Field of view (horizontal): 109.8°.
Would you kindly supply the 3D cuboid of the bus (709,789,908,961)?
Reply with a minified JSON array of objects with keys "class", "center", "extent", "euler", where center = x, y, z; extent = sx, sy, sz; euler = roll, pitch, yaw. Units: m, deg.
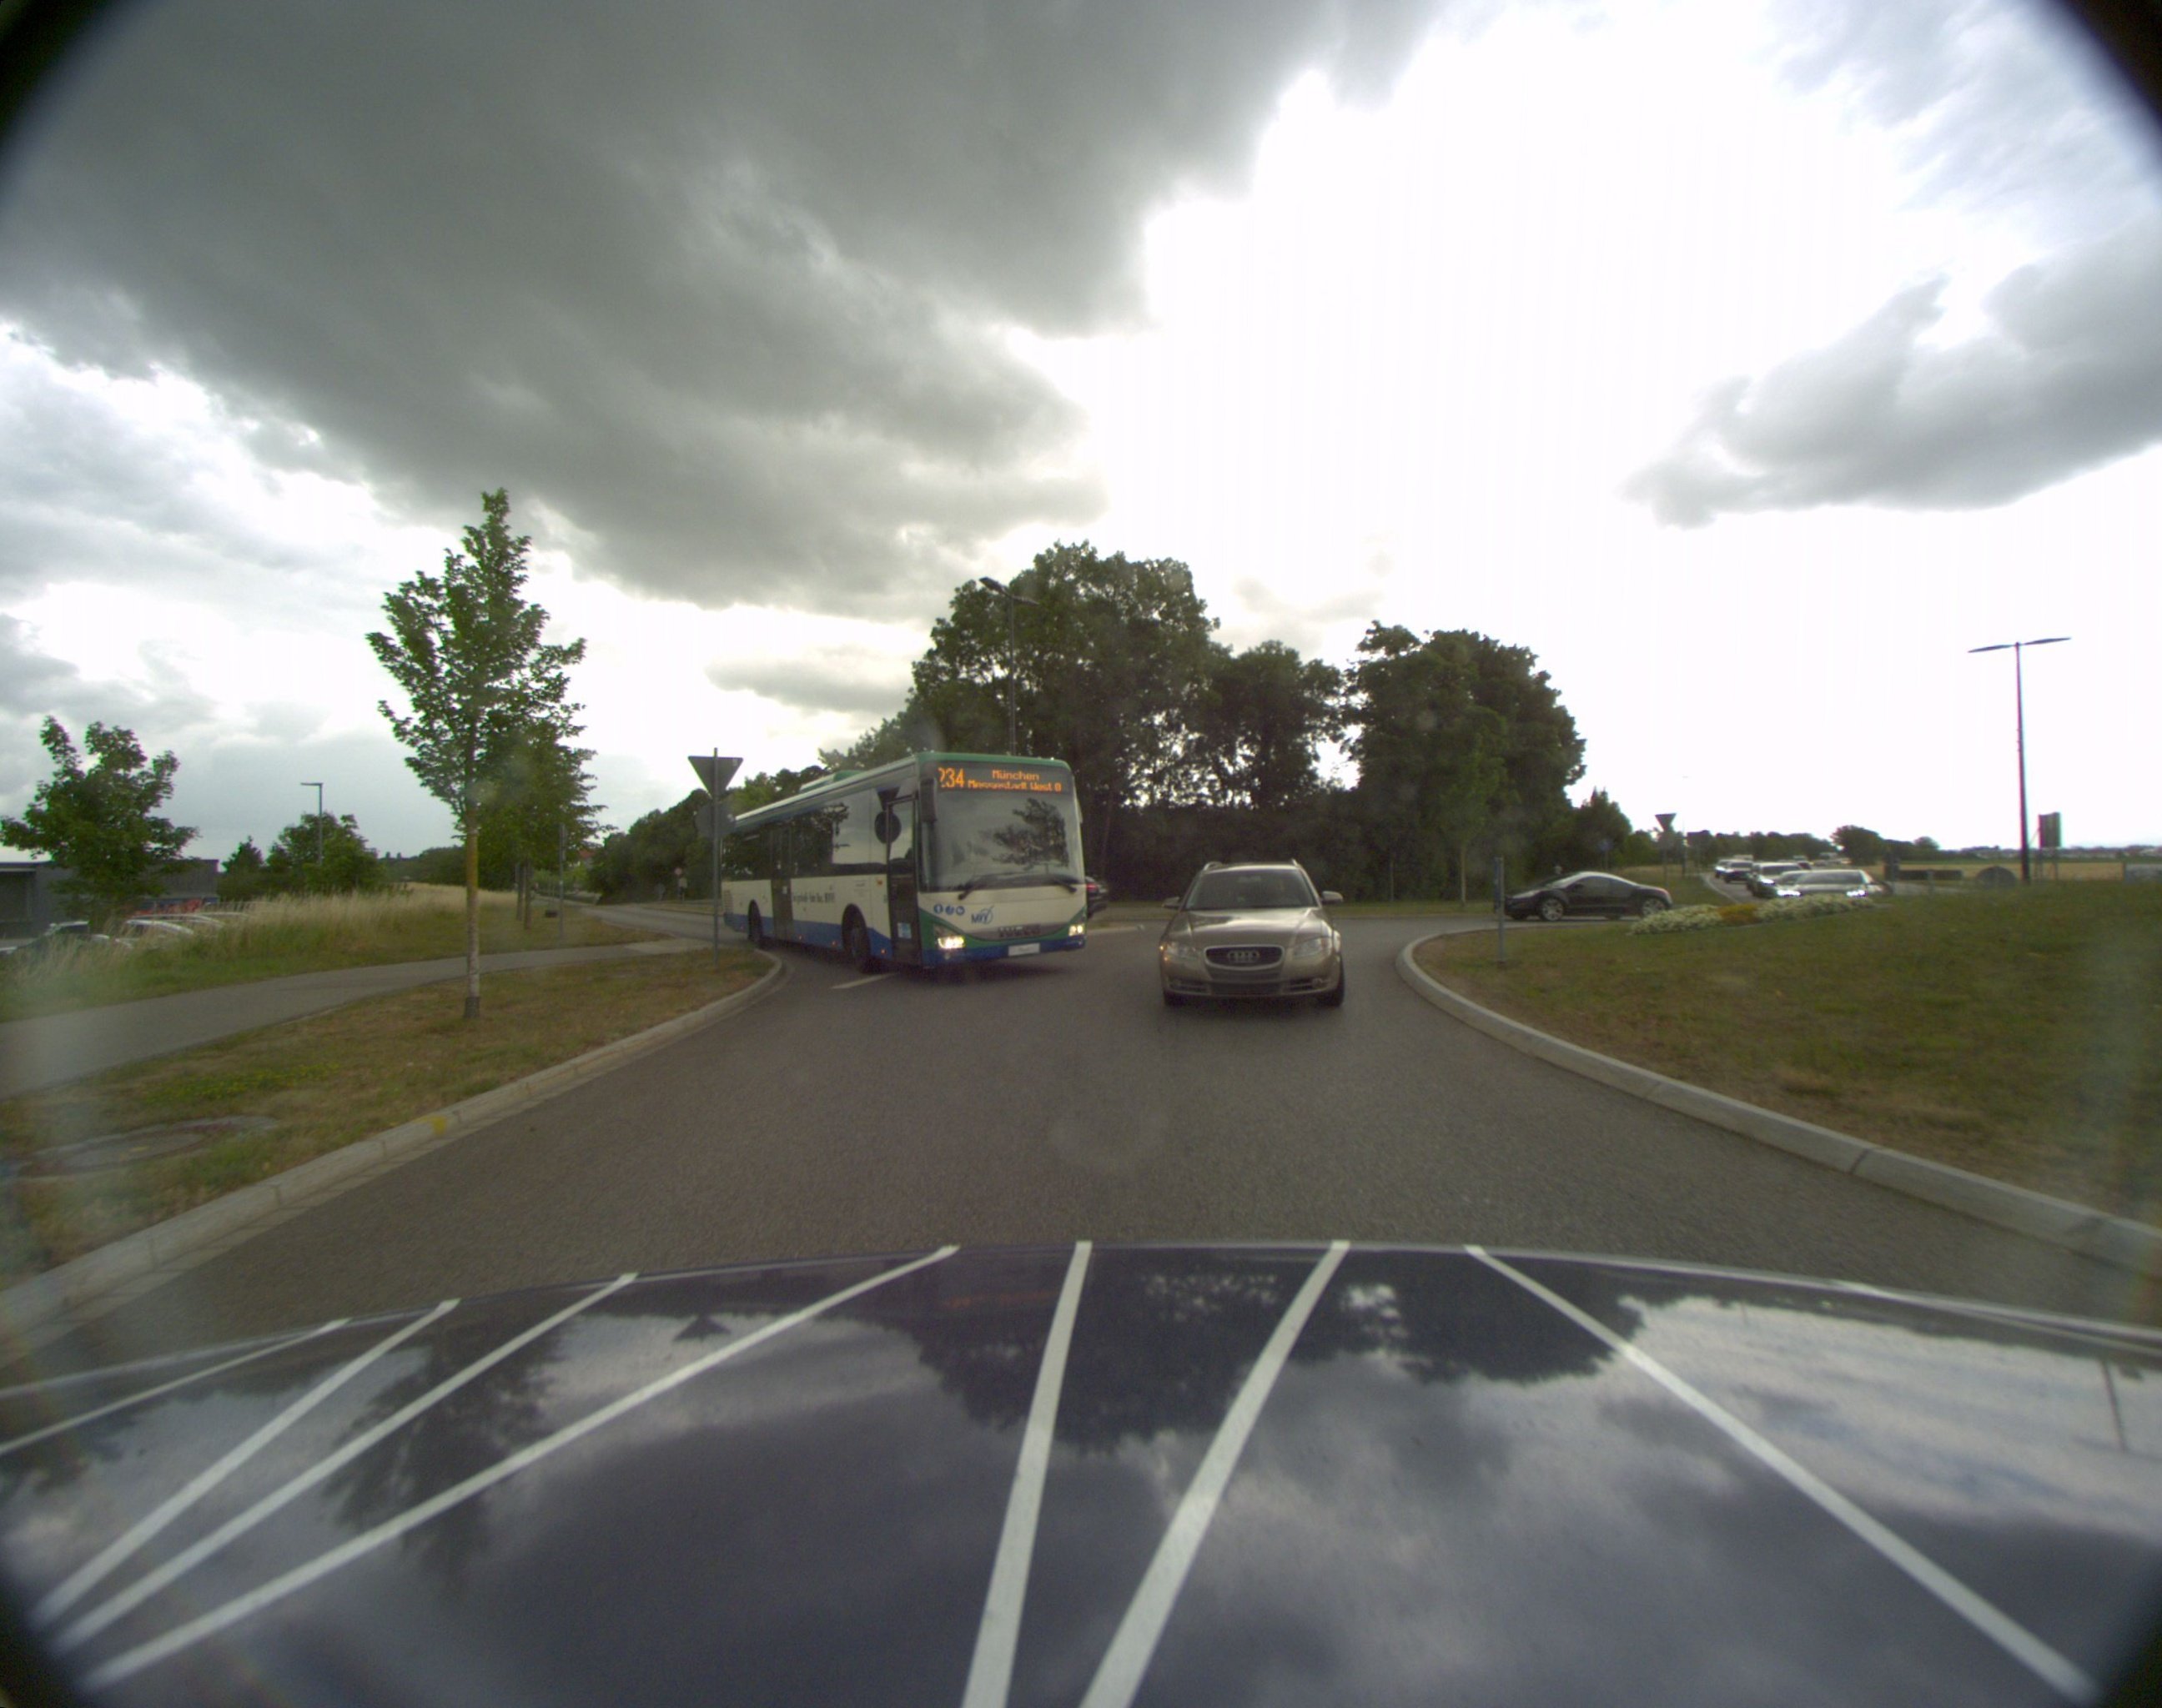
[{"class":"bus","center":[-6.357,0.379,17.239],"extent":[2.529,3.240,5.447],"euler":[-4,2,-37]}]

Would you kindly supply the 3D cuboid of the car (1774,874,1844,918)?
[{"class":"car","center":[27.996,1.585,29.305],"extent":[1.777,1.489,3.819],"euler":[-2,-1,42]}]

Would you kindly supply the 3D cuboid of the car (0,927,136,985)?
[{"class":"car","center":[-31.549,3.057,22.639],"extent":[3.895,1.455,1.694],"euler":[0,-1,-27]}]

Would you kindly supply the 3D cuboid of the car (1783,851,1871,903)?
[{"class":"car","center":[23.387,0.674,23.906],"extent":[1.836,1.449,4.145],"euler":[-1,0,44]}]

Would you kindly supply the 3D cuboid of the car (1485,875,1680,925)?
[{"class":"car","center":[13.701,1.226,20.969],"extent":[4.109,1.299,1.832],"euler":[0,-2,6]}]

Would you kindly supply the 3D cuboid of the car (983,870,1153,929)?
[{"class":"car","center":[-0.351,1.302,22.309],"extent":[4.578,1.564,2.003],"euler":[-1,0,17]}]

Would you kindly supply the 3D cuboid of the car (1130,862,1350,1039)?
[{"class":"car","center":[1.902,0.880,8.760],"extent":[1.780,1.456,4.546],"euler":[-3,-1,14]}]

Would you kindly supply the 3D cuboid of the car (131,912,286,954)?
[{"class":"car","center":[-36.290,3.257,31.735],"extent":[3.895,1.455,1.694],"euler":[0,-1,-27]}]

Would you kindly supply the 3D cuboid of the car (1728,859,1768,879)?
[{"class":"car","center":[47.291,1.082,53.922],"extent":[1.777,1.310,3.818],"euler":[-2,-1,36]}]

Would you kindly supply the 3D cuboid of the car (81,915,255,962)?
[{"class":"car","center":[-34.691,3.193,29.039],"extent":[3.895,1.455,1.694],"euler":[0,-1,-27]}]

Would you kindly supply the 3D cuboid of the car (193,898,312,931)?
[{"class":"car","center":[-43.238,3.119,39.798],"extent":[4.008,1.435,1.879],"euler":[0,-1,-42]}]

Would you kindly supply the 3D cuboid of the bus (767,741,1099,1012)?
[{"class":"bus","center":[-2.812,0.263,12.429],"extent":[2.529,3.240,6.532],"euler":[-4,2,-37]}]

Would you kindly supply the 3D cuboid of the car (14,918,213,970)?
[{"class":"car","center":[-33.230,3.057,26.264],"extent":[3.895,1.455,1.694],"euler":[0,-1,-27]}]

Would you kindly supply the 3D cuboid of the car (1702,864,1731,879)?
[{"class":"car","center":[58.029,1.578,69.407],"extent":[1.777,1.310,3.818],"euler":[-2,-1,36]}]

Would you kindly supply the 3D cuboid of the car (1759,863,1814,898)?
[{"class":"car","center":[33.367,1.233,36.006],"extent":[1.777,1.489,3.819],"euler":[-2,-1,42]}]
